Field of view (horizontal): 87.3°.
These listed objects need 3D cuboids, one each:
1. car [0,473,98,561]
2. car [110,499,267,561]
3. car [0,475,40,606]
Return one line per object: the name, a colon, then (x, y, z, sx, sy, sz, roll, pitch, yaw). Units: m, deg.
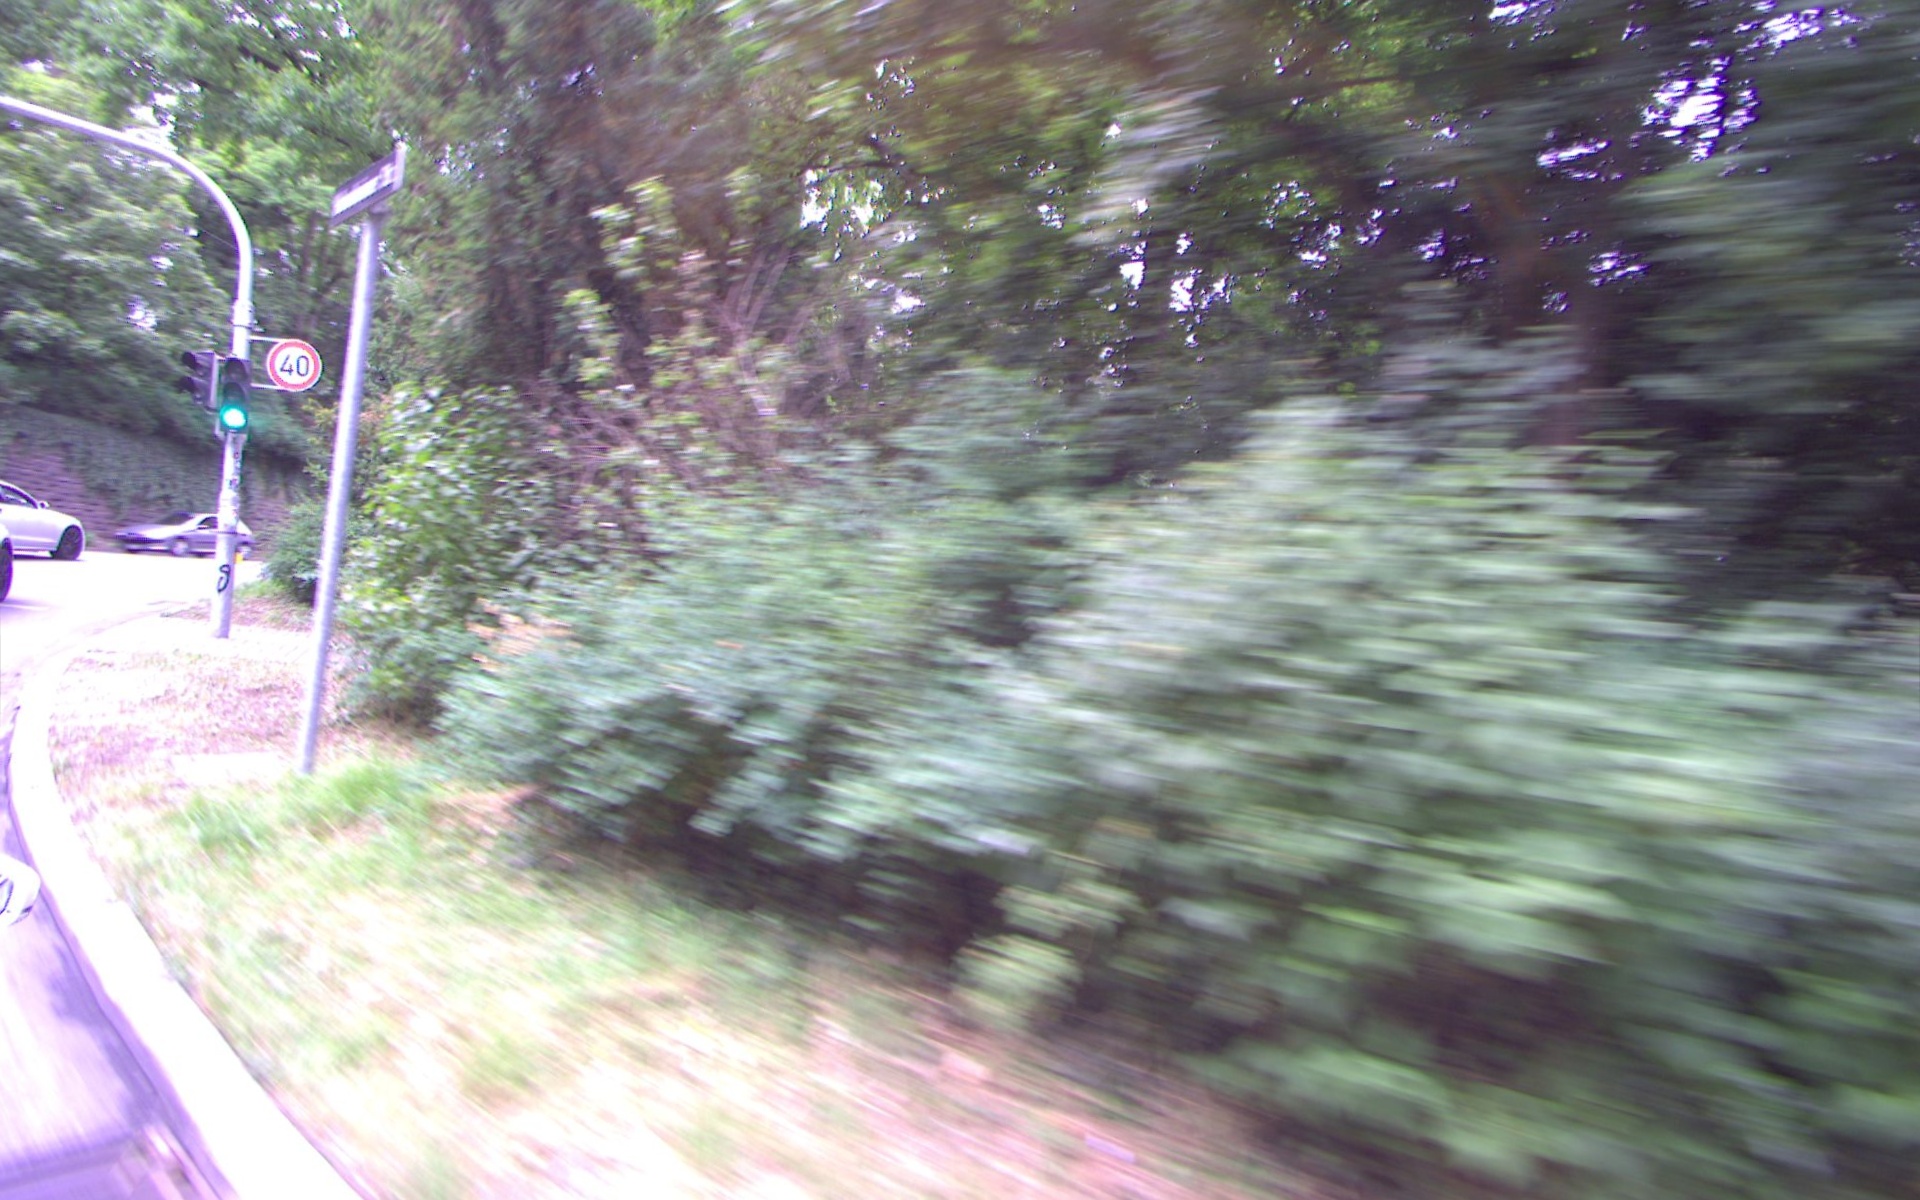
car: (-18.222, -1.642, 18.307, 1.843, 1.552, 4.760, 8, -1, -16)
car: (-23.577, -2.087, 30.927, 1.581, 1.436, 3.756, 6, 0, 7)
car: (-11.785, -0.755, 10.890, 1.742, 1.571, 4.301, 8, 0, -31)
